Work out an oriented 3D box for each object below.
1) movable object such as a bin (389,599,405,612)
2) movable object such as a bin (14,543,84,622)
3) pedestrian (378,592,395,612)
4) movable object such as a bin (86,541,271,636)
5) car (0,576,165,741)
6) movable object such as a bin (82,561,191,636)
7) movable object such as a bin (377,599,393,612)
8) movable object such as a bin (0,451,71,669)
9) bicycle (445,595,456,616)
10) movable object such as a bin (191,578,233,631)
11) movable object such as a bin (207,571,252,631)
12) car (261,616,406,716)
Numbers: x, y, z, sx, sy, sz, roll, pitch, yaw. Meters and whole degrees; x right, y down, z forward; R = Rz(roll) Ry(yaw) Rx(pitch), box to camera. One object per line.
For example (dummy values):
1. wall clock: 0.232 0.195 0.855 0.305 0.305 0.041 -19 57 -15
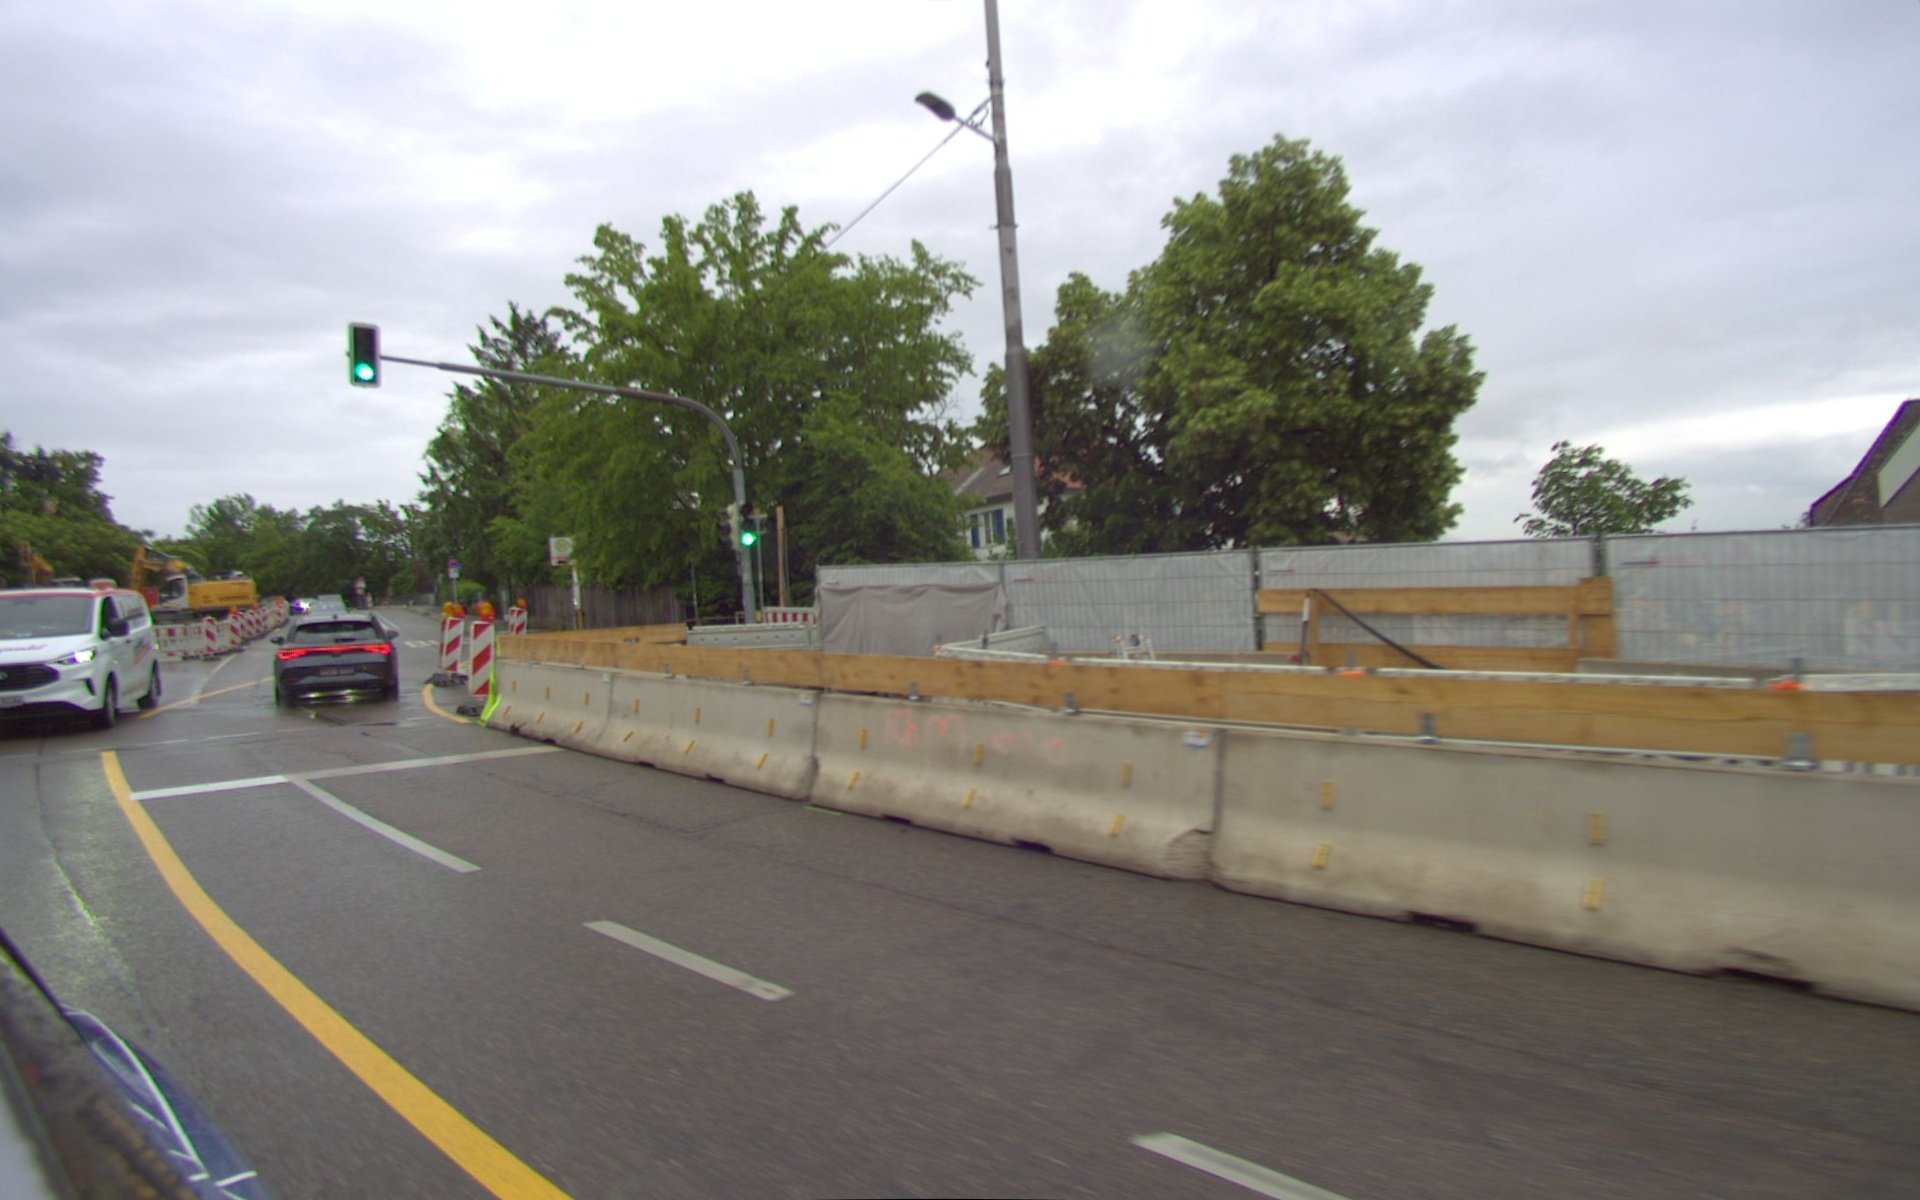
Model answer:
1. movable object such as a bin: -53.131 0.552 95.437 1.026 1.115 0.977 -5 -2 38
2. movable object such as a bin: -48.148 -0.918 53.586 1.967 3.917 4.629 -4 2 -34
3. pedestrian: -51.092 0.184 90.189 0.976 1.781 0.917 -3 0 29
4. movable object such as a bin: -43.871 -0.726 56.736 10.746 4.954 3.046 1 4 22
5. car: -13.138 0.766 14.499 1.966 2.029 4.964 1 -2 -29
6. movable object such as a bin: -41.041 -0.079 50.468 3.939 3.228 2.410 -5 -3 -41
7. movable object such as a bin: -53.815 0.542 94.652 1.026 1.115 0.977 -3 -1 38
8. movable object such as a bin: -32.486 -1.129 31.346 6.859 6.738 3.053 -4 2 -36
9. bicycle: -34.139 0.353 67.829 0.415 1.359 1.748 -4 3 -32
10. movable object such as a bin: -55.620 0.344 75.219 2.050 3.251 5.292 -5 -3 -40
11. movable object such as a bin: -44.240 -0.002 61.314 1.967 3.329 3.845 -3 4 -36
12. car: -10.851 1.030 17.383 1.760 1.413 4.376 -3 1 -36
